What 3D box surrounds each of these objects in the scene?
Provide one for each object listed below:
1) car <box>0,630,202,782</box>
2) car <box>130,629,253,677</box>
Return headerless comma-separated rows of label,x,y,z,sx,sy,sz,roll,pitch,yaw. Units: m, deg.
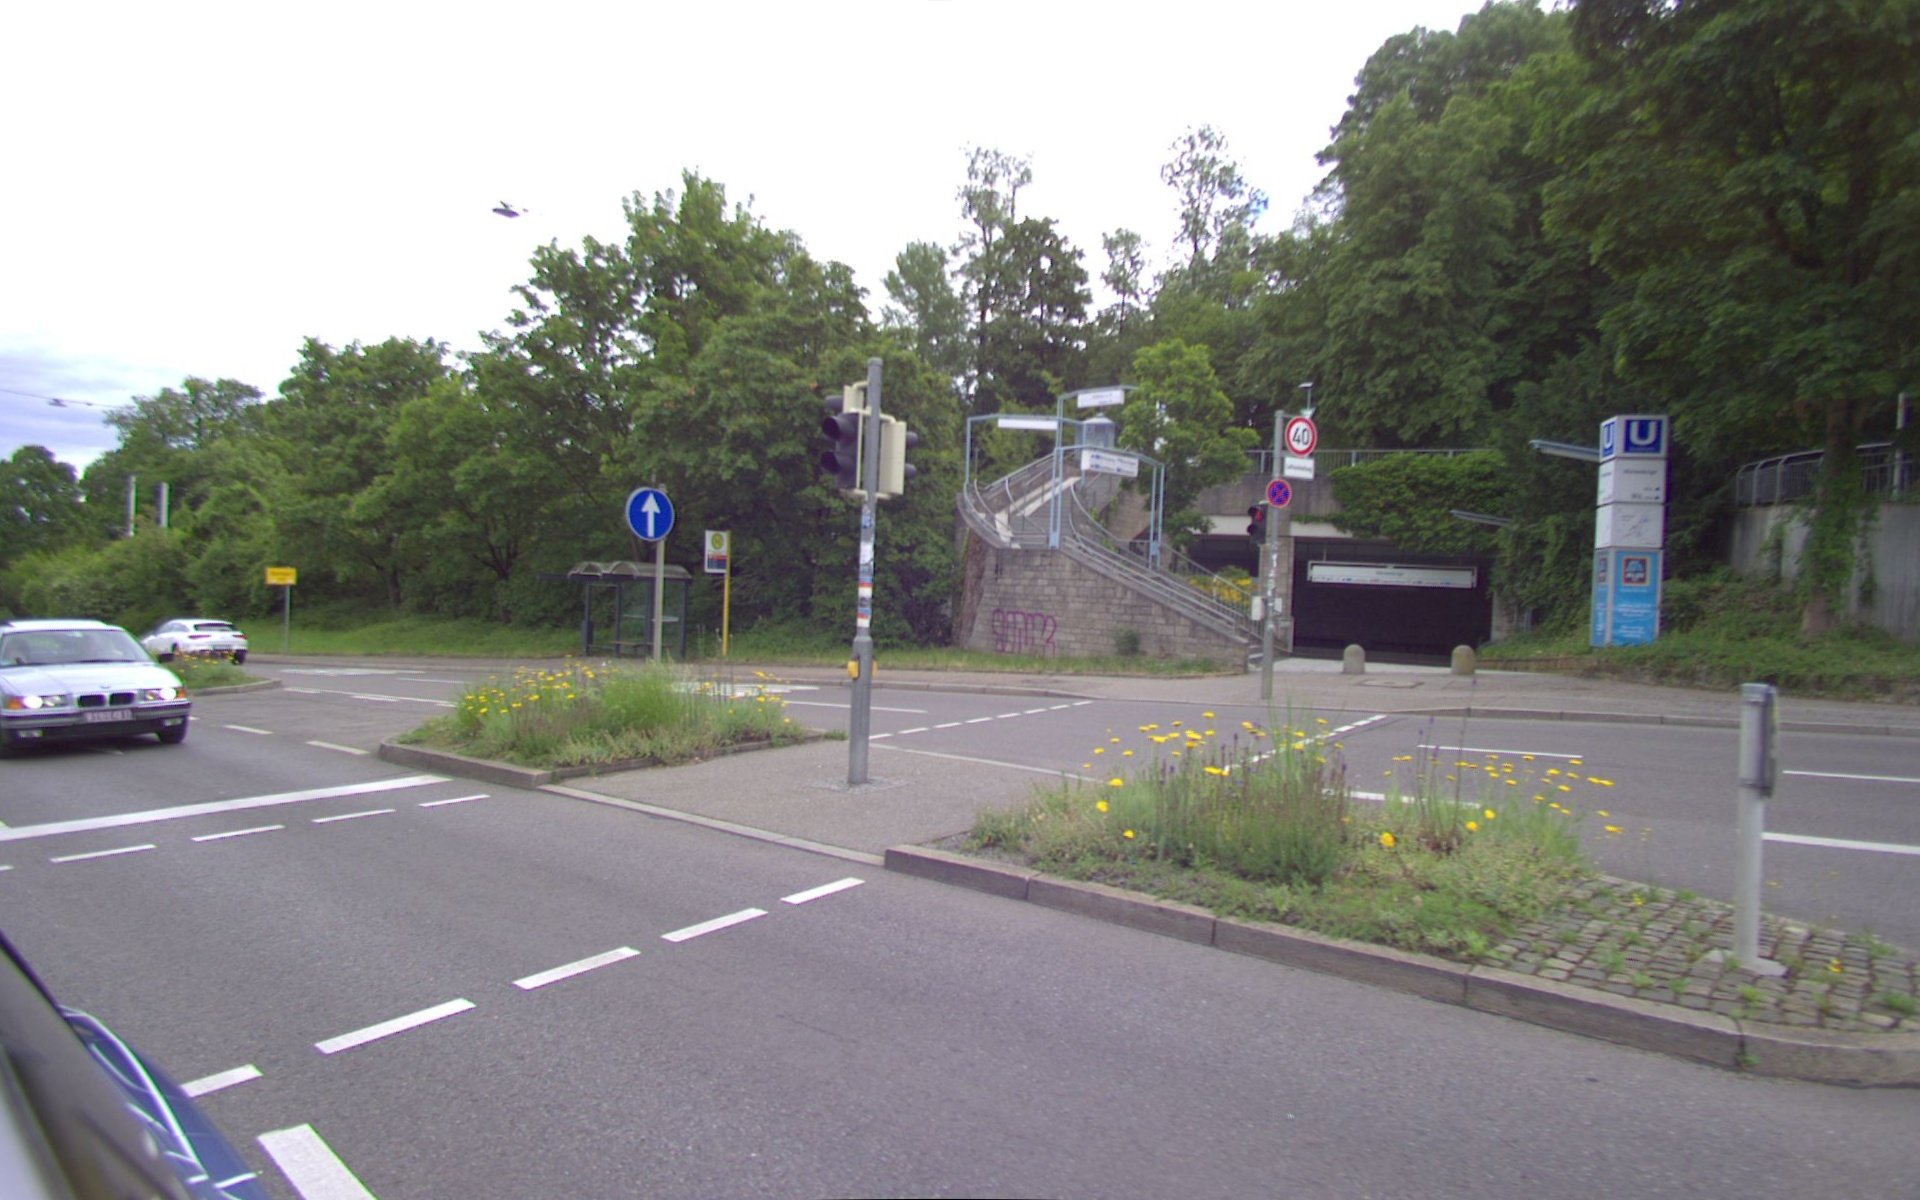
car,-10.541,1.082,11.829,4.612,1.404,1.735,-1,-1,41
car,-24.471,1.628,32.188,4.596,1.404,1.703,-1,-2,34
